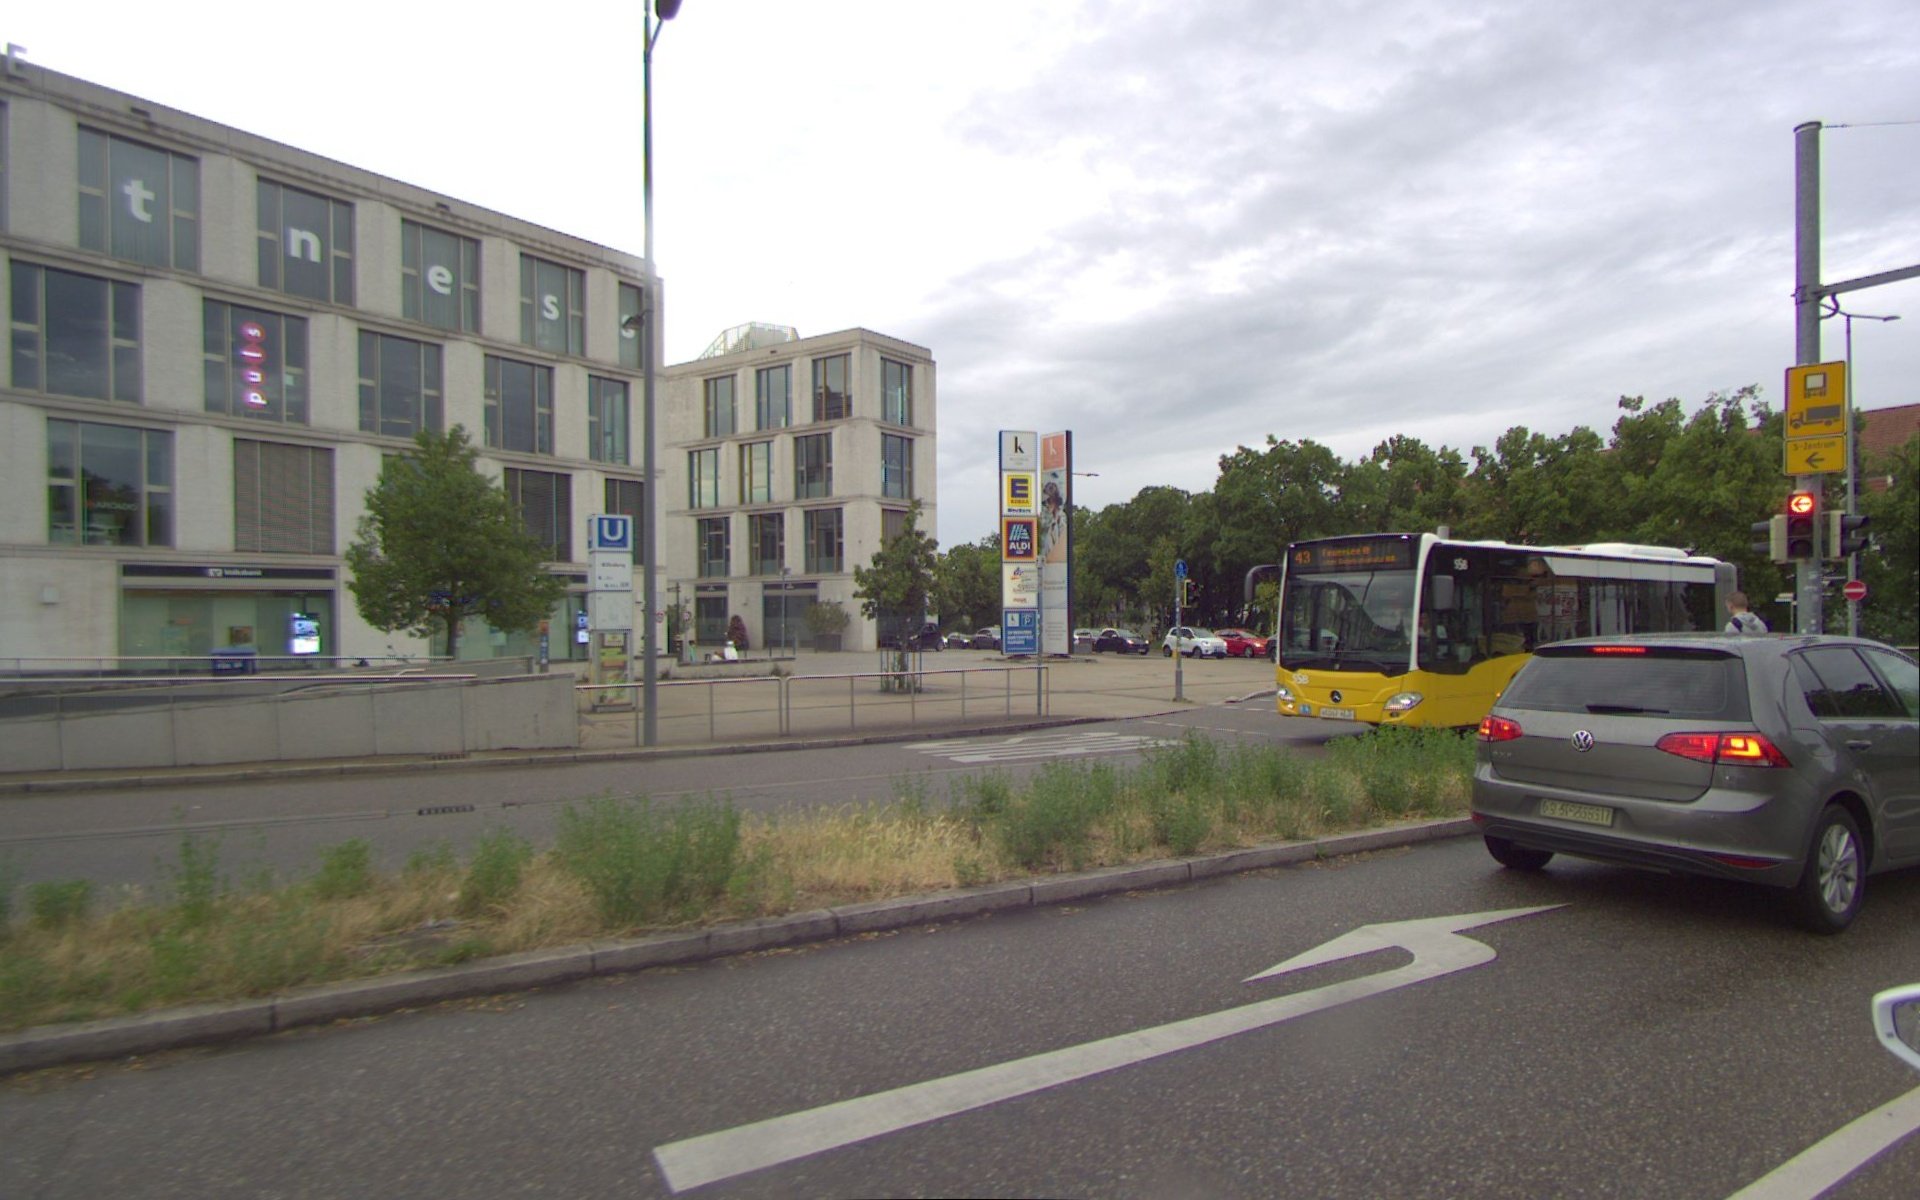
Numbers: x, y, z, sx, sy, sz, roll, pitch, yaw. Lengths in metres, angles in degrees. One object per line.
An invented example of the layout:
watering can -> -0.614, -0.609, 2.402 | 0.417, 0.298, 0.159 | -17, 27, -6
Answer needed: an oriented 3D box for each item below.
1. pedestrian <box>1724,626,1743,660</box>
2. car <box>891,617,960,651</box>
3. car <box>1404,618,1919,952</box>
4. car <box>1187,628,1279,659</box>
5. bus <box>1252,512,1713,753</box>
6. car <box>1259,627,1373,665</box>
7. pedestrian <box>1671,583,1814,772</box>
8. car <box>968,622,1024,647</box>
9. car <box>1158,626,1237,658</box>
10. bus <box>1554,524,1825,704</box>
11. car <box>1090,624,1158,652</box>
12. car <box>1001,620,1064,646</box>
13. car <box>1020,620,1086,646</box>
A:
pedestrian -> 35.304, 1.959, 45.839 | 0.767, 1.510, 0.612 | 1, -1, -45
car -> -1.812, 1.813, 53.801 | 1.749, 1.754, 3.990 | 0, -1, 33
car -> 4.895, 0.882, 6.173 | 4.145, 1.448, 1.799 | 1, -3, -28
car -> 14.005, 2.211, 51.769 | 1.978, 1.444, 4.502 | 1, -1, -31
bus -> 9.238, 0.539, 17.051 | 9.660, 3.144, 2.869 | 1, -1, -35
car -> 15.347, 1.969, 43.539 | 1.977, 1.444, 4.425 | 1, -1, -30
pedestrian -> 8.940, 0.874, 11.507 | 0.835, 2.039, 0.938 | 1, -4, -24
car -> 2.216, 2.134, 62.386 | 1.649, 1.444, 3.948 | 1, -1, -30
car -> 11.925, 2.077, 50.644 | 1.824, 1.444, 3.755 | 1, -1, -30
bus -> 16.556, 0.363, 22.505 | 8.503, 3.351, 2.865 | 2, -1, -39
car -> 9.180, 2.108, 56.468 | 1.824, 1.444, 3.755 | 1, -1, -30
car -> 4.690, 2.156, 65.485 | 1.940, 1.551, 4.510 | 1, -1, -29
car -> 5.858, 2.067, 63.480 | 1.940, 1.551, 4.510 | 1, -1, -29
